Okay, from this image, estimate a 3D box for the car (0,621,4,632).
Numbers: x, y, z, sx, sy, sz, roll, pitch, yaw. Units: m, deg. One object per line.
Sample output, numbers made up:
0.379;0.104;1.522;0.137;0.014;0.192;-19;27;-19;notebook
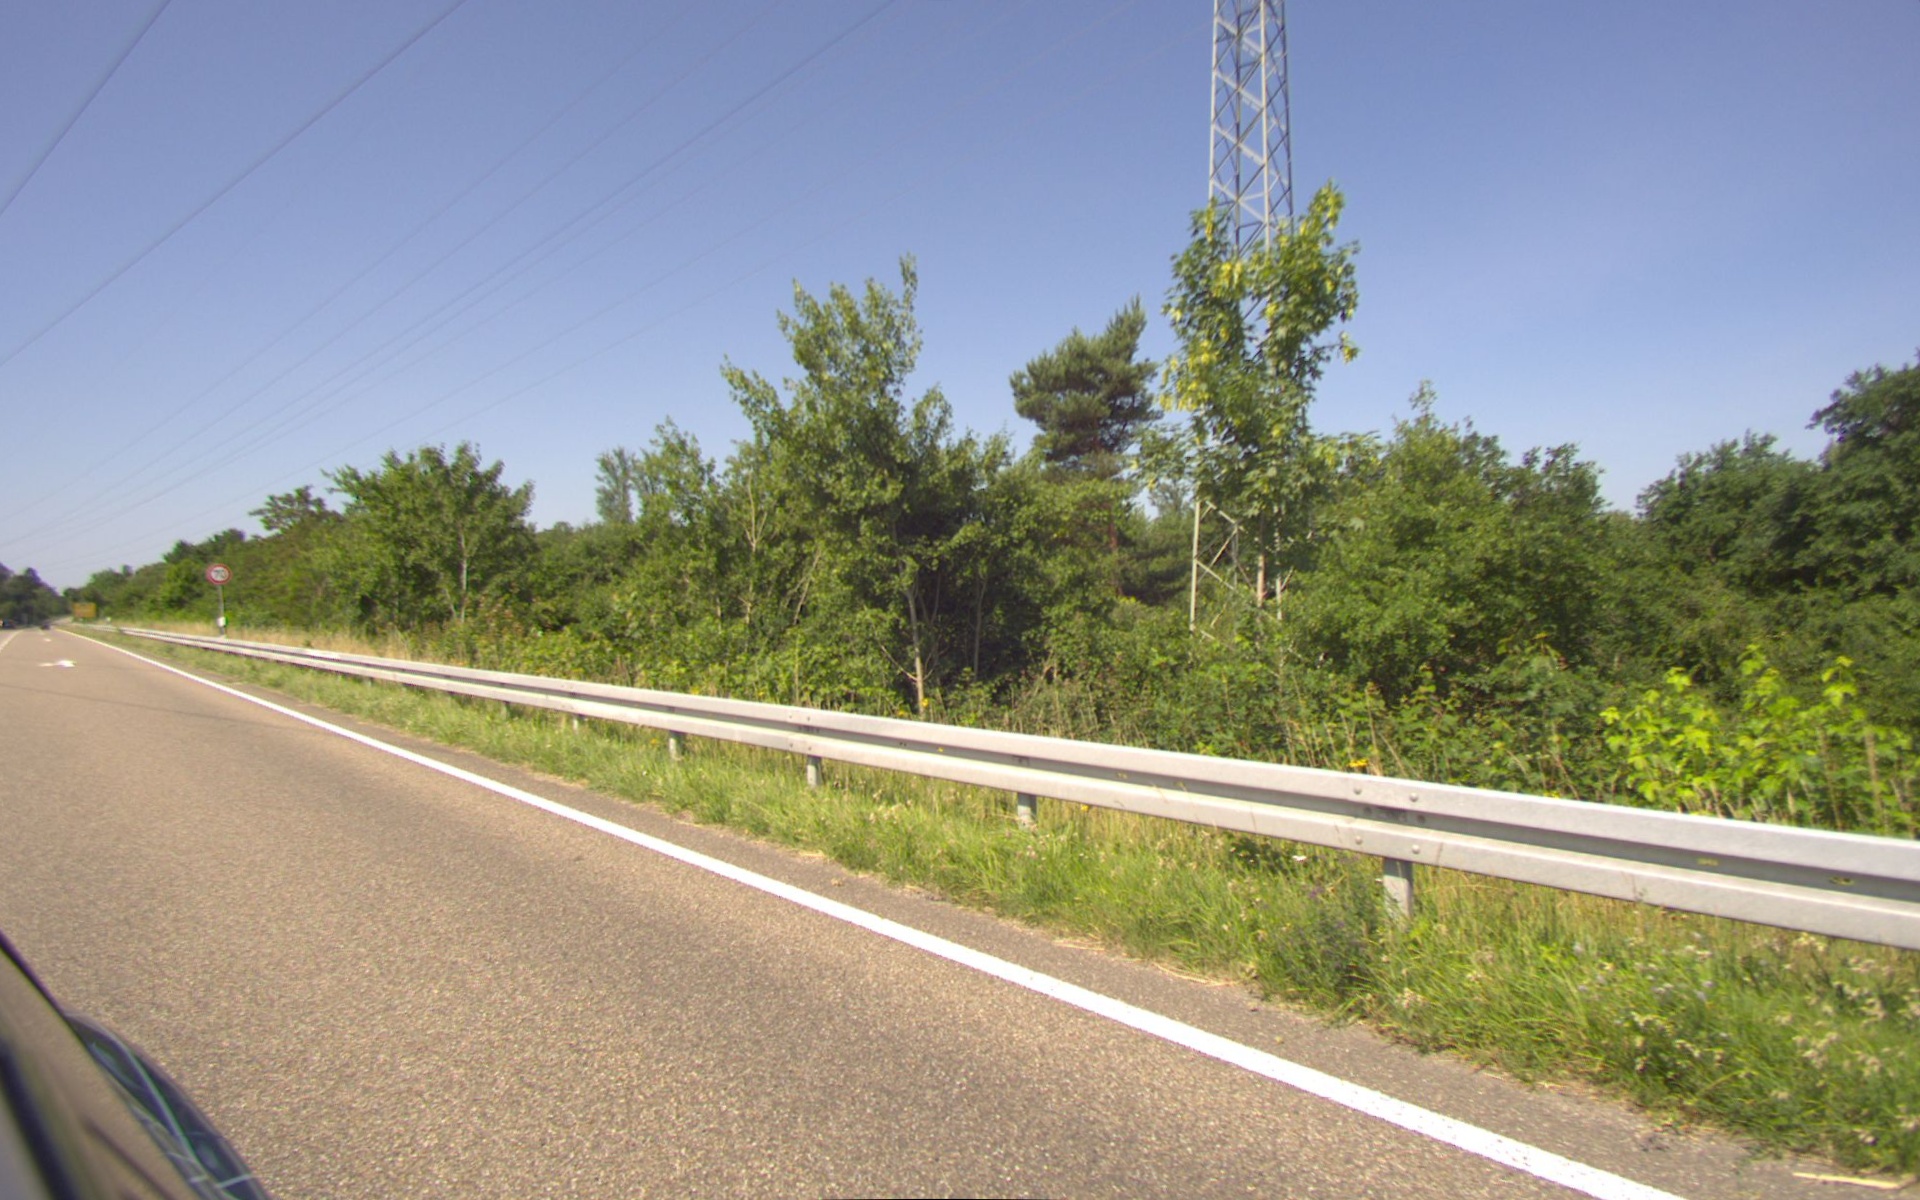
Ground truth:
-136.245;3.747;142.829;1.808;1.595;4.002;2;-2;-45;car
